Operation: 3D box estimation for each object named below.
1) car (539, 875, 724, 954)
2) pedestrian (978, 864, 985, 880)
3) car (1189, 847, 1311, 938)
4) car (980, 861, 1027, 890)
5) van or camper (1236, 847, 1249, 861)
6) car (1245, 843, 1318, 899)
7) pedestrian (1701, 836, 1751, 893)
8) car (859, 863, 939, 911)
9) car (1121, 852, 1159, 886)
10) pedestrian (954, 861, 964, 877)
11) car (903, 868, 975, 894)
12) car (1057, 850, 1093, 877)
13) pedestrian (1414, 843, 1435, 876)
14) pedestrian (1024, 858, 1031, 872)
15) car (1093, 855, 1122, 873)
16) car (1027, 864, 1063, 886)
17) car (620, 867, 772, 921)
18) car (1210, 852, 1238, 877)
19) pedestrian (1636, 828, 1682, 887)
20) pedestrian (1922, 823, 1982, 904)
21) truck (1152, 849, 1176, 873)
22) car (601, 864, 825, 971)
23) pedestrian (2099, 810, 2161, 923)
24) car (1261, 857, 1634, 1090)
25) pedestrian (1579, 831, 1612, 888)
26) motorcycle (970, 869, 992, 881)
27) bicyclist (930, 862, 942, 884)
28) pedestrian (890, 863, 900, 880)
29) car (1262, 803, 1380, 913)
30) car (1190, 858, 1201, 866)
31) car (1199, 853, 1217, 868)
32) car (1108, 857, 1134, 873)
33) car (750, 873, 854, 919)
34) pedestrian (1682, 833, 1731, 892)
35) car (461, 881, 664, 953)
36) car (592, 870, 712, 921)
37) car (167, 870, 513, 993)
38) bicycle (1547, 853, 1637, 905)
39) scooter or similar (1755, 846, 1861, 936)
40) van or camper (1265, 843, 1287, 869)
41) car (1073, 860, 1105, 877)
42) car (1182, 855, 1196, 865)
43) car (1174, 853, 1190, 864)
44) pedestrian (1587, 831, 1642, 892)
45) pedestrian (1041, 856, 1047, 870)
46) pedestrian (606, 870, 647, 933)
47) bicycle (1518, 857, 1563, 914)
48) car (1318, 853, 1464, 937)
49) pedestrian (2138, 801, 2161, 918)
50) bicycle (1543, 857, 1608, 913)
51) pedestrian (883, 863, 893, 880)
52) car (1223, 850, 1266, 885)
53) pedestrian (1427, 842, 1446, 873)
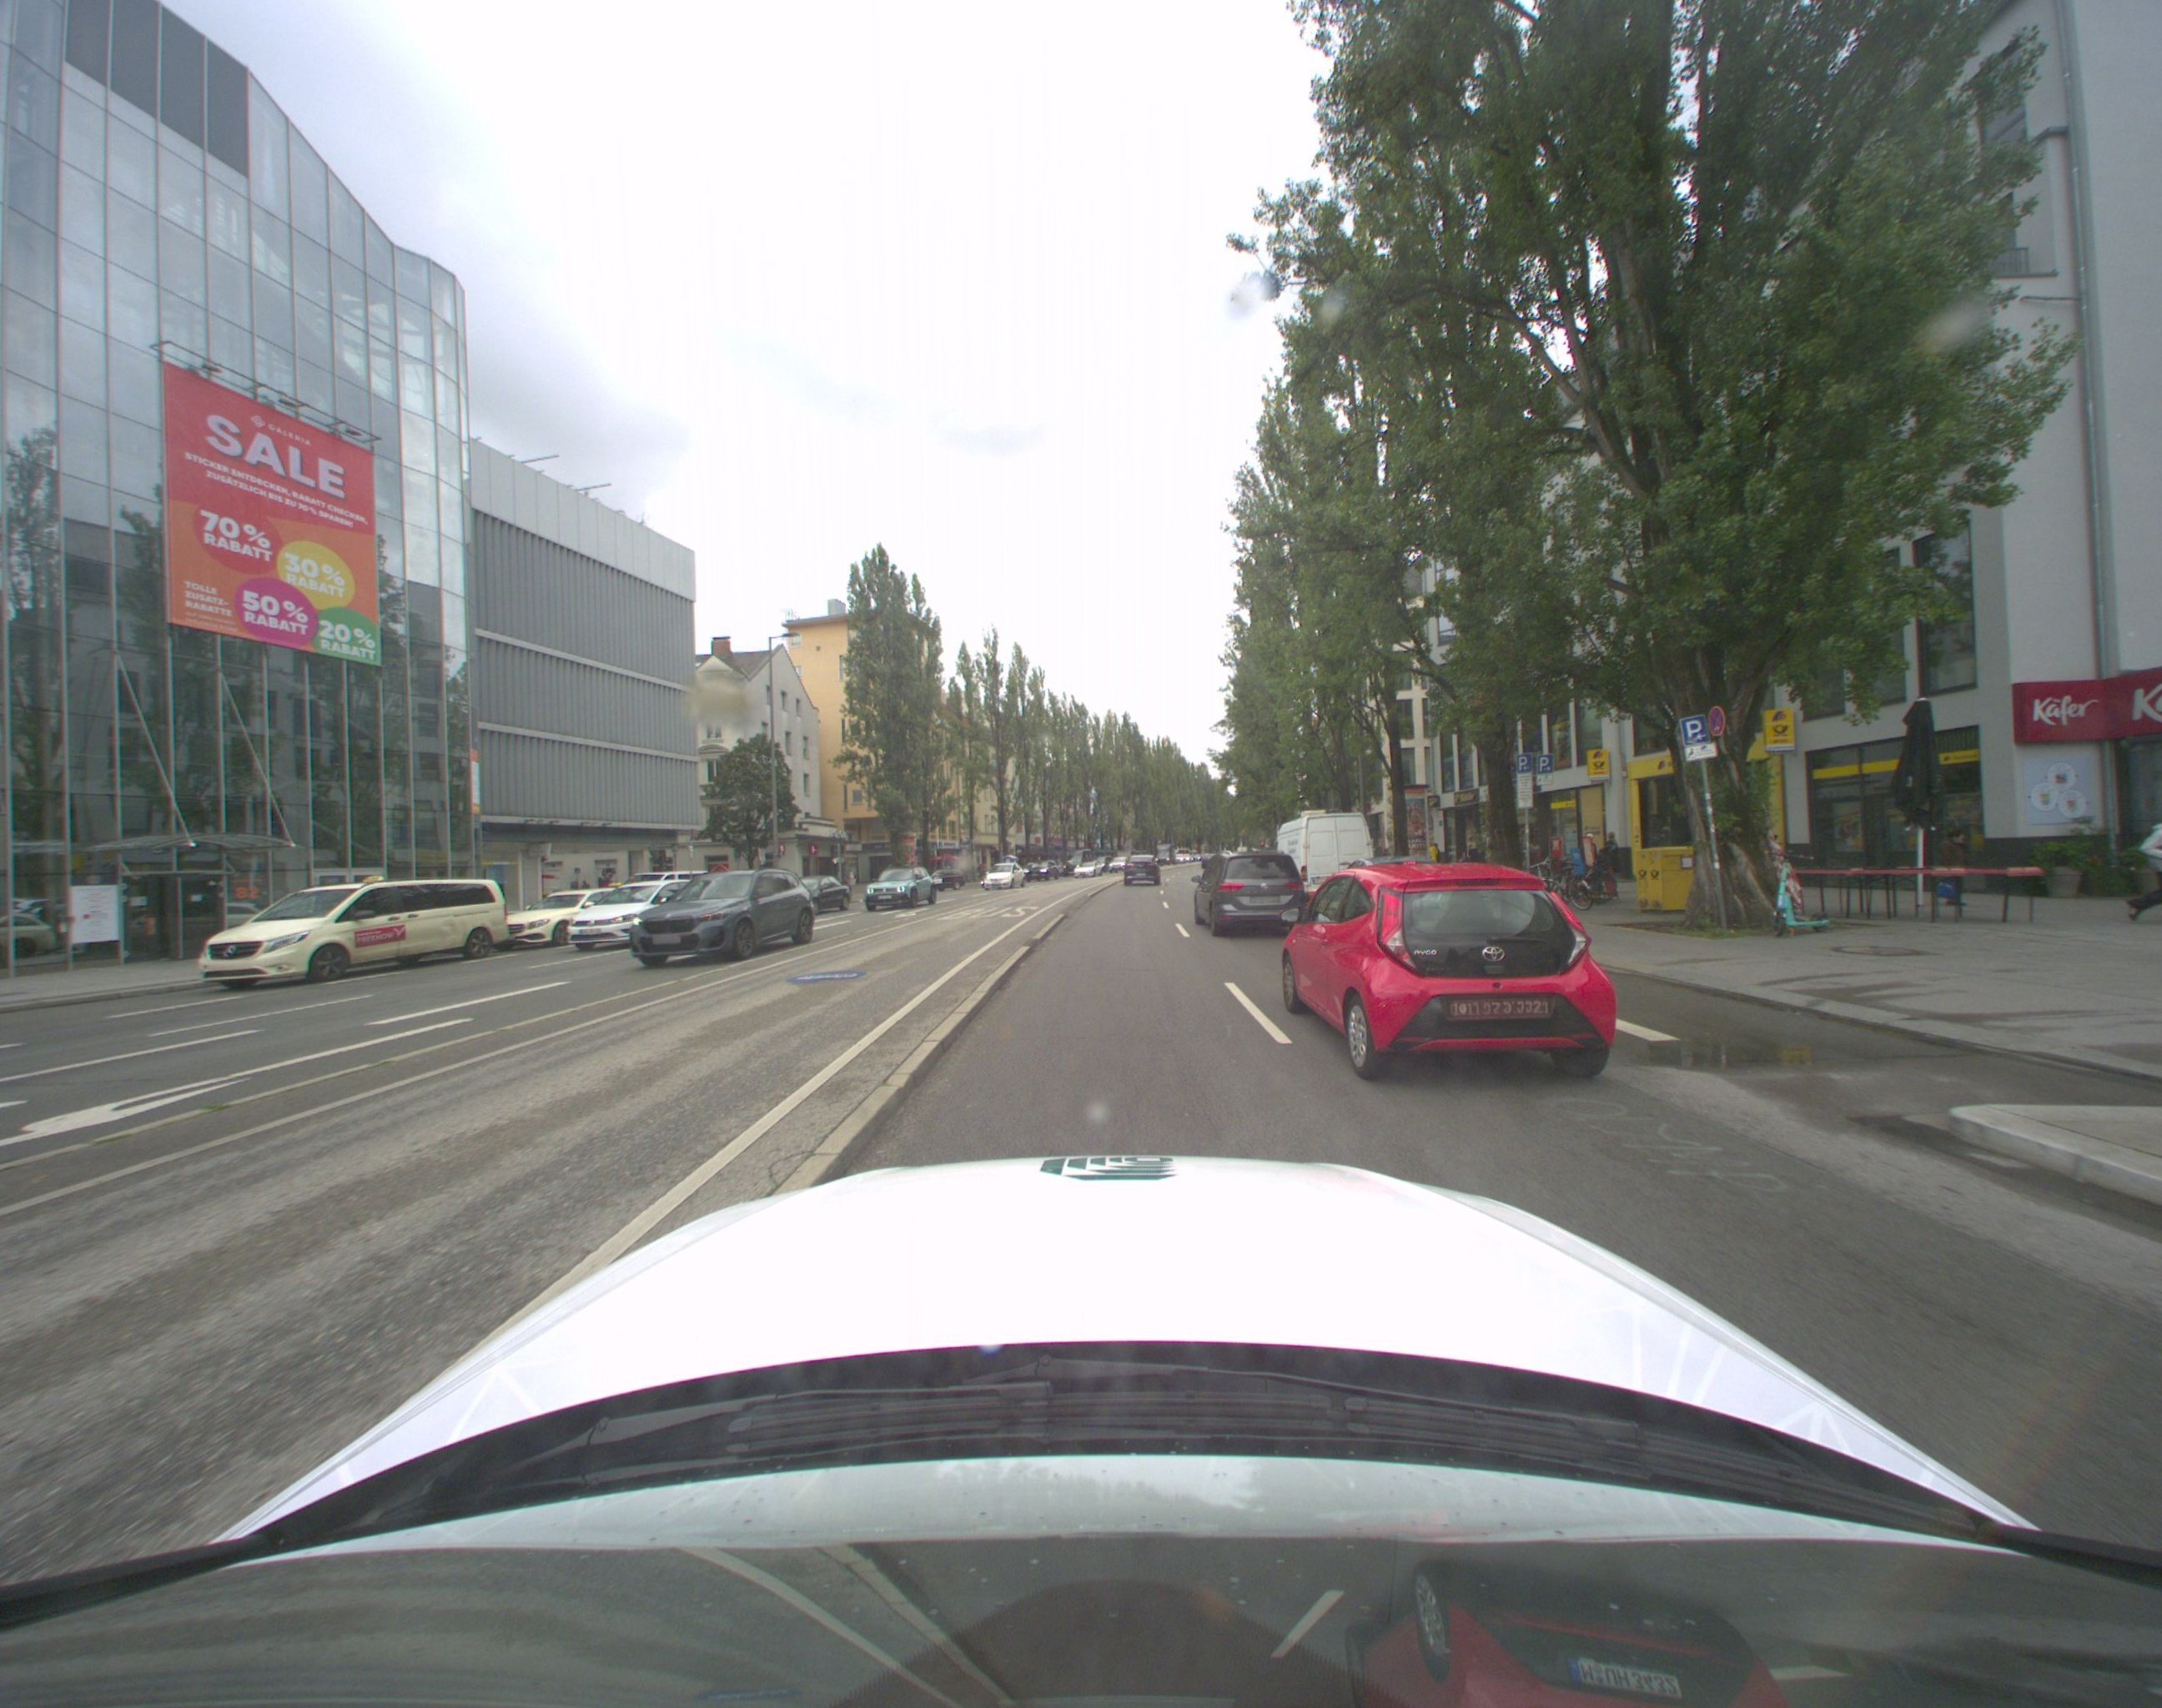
[{"bbox_3d":[-11.091,1.424,20.513,1.984,1.600,4.294,-3,-1,4],"label":"car"},{"bbox_3d":[-10.560,1.911,86.489,0.535,1.747,0.758,-2,-1,14],"label":"pedestrian"},{"bbox_3d":[3.349,0.723,16.905,1.754,1.614,4.185,-1,-1,2],"label":"car"},{"bbox_3d":[-4.777,1.306,50.719,1.942,1.589,4.009,-3,-1,8],"label":"car"},{"bbox_3d":[29.597,0.067,149.342,2.020,2.476,4.015,-2,-2,14],"label":"van or camper"},{"bbox_3d":[7.100,0.580,29.347,1.919,1.805,4.788,-1,-1,6],"label":"car"},{"bbox_3d":[18.013,0.282,22.755,0.762,1.535,0.708,-3,-1,-2],"label":"pedestrian"},{"bbox_3d":[-6.875,1.204,31.184,1.809,1.545,4.005,-5,-1,4],"label":"car"},{"bbox_3d":[3.251,0.780,44.290,1.872,1.642,4.589,-3,-1,5],"label":"car"},{"bbox_3d":[-12.195,1.523,81.518,0.629,1.561,0.819,-3,-1,16],"label":"pedestrian"},{"bbox_3d":[-9.516,1.794,54.792,1.903,1.439,4.536,-3,-1,40],"label":"car"},{"bbox_3d":[-0.507,0.933,82.888,2.155,2.605,6.086,-3,-1,13],"label":"car"},{"bbox_3d":[16.607,0.257,39.378,0.679,1.558,0.751,-3,-1,3],"label":"pedestrian"},{"bbox_3d":[-6.573,1.334,100.832,0.633,1.700,0.650,-3,-1,14],"label":"pedestrian"},{"bbox_3d":[3.089,1.115,93.889,1.979,1.863,5.733,-4,-1,14],"label":"car"},{"bbox_3d":[-3.080,1.787,70.722,2.006,1.716,4.996,-3,-1,10],"label":"car"},{"bbox_3d":[-13.171,1.310,28.262,1.843,1.469,5.003,-5,-1,16],"label":"car"},{"bbox_3d":[10.165,0.764,57.777,1.913,1.700,4.663,-1,-1,10],"label":"car"},{"bbox_3d":[16.553,0.101,23.344,0.688,1.649,0.798,-2,-1,1],"label":"pedestrian"},{"bbox_3d":[16.387,0.179,15.338,0.641,1.476,0.764,-2,-2,40],"label":"pedestrian"},{"bbox_3d":[12.210,0.937,119.925,2.274,3.323,7.184,-4,-1,14],"label":"truck"},{"bbox_3d":[-6.790,1.077,15.678,1.985,1.621,4.418,-4,-1,4],"label":"car"},{"bbox_3d":[15.353,0.164,11.672,0.638,1.583,0.636,-3,-1,9],"label":"pedestrian"},{"bbox_3d":[2.703,0.784,6.935,1.658,1.446,3.598,-1,-1,2],"label":"car"},{"bbox_3d":[15.892,0.165,25.155,0.712,1.724,0.744,-4,-1,39],"label":"pedestrian"},{"bbox_3d":[-9.609,2.024,78.359,2.053,1.036,0.485,-1,-1,-7],"label":"motorcycle"},{"bbox_3d":[-10.622,1.383,59.655,0.498,1.592,0.838,-3,-1,14],"label":"bicyclist"},{"bbox_3d":[-15.866,1.479,69.436,0.630,1.435,0.778,-2,-1,1],"label":"pedestrian"},{"bbox_3d":[6.637,0.145,23.194,1.985,2.742,5.559,-1,-1,3],"label":"car"},{"bbox_3d":[22.267,1.573,158.123,1.655,1.596,4.015,-1,-1,14],"label":"car"},{"bbox_3d":[14.342,0.749,91.961,1.747,1.619,3.760,-1,-1,13],"label":"car"},{"bbox_3d":[4.350,1.145,88.089,1.896,1.603,4.371,-3,-1,13],"label":"car"},{"bbox_3d":[-10.082,1.469,29.814,1.720,1.409,4.695,-3,0,6],"label":"car"},{"bbox_3d":[17.303,0.236,22.534,0.688,1.585,0.773,-2,-1,1],"label":"pedestrian"},{"bbox_3d":[-14.249,1.659,22.869,1.967,1.552,5.095,-3,-1,7],"label":"car"},{"bbox_3d":[-19.296,1.811,36.968,1.981,2.013,5.127,-3,0,10],"label":"car"},{"bbox_3d":[-14.911,1.417,16.985,1.984,2.013,5.328,-3,-1,4],"label":"car"},{"bbox_3d":[11.928,0.572,19.068,1.616,1.160,0.708,-2,0,14],"label":"bicycle"},{"bbox_3d":[10.590,0.519,11.859,1.468,1.207,0.398,-3,-1,-17],"label":"scooter or similar"},{"bbox_3d":[24.843,0.251,103.795,2.442,3.112,4.735,-3,-1,15],"label":"van or camper"},{"bbox_3d":[0.779,1.297,74.261,1.786,1.394,4.708,-3,-1,14],"label":"car"},{"bbox_3d":[18.987,1.111,142.717,1.925,1.642,4.480,-3,-1,14],"label":"car"},{"bbox_3d":[16.585,0.683,133.640,1.847,1.711,4.553,-4,-1,14],"label":"car"},{"bbox_3d":[14.962,0.218,22.881,0.797,1.637,1.022,-2,-1,-2],"label":"pedestrian"},{"bbox_3d":[-4.946,1.227,108.565,0.633,1.862,0.650,-3,-1,14],"label":"pedestrian"},{"bbox_3d":[-14.167,1.461,25.393,0.785,1.867,0.844,-2,-1,-8],"label":"pedestrian"},{"bbox_3d":[10.033,0.661,17.829,0.473,1.160,1.833,-2,0,18],"label":"bicycle"},{"bbox_3d":[5.979,0.725,16.225,1.716,1.454,4.154,0,0,6],"label":"car"},{"bbox_3d":[15.989,0.065,11.755,0.576,1.701,0.598,-3,-1,9],"label":"pedestrian"},{"bbox_3d":[10.939,0.659,18.072,0.475,1.160,1.634,-2,0,2],"label":"bicycle"},{"bbox_3d":[-16.482,1.488,69.478,0.630,1.435,0.778,-2,-1,1],"label":"pedestrian"},{"bbox_3d":[8.310,0.658,41.715,1.718,1.686,4.415,-1,0,5],"label":"car"},{"bbox_3d":[18.510,0.182,42.406,0.565,1.576,0.672,-2,-1,-21],"label":"pedestrian"}]
